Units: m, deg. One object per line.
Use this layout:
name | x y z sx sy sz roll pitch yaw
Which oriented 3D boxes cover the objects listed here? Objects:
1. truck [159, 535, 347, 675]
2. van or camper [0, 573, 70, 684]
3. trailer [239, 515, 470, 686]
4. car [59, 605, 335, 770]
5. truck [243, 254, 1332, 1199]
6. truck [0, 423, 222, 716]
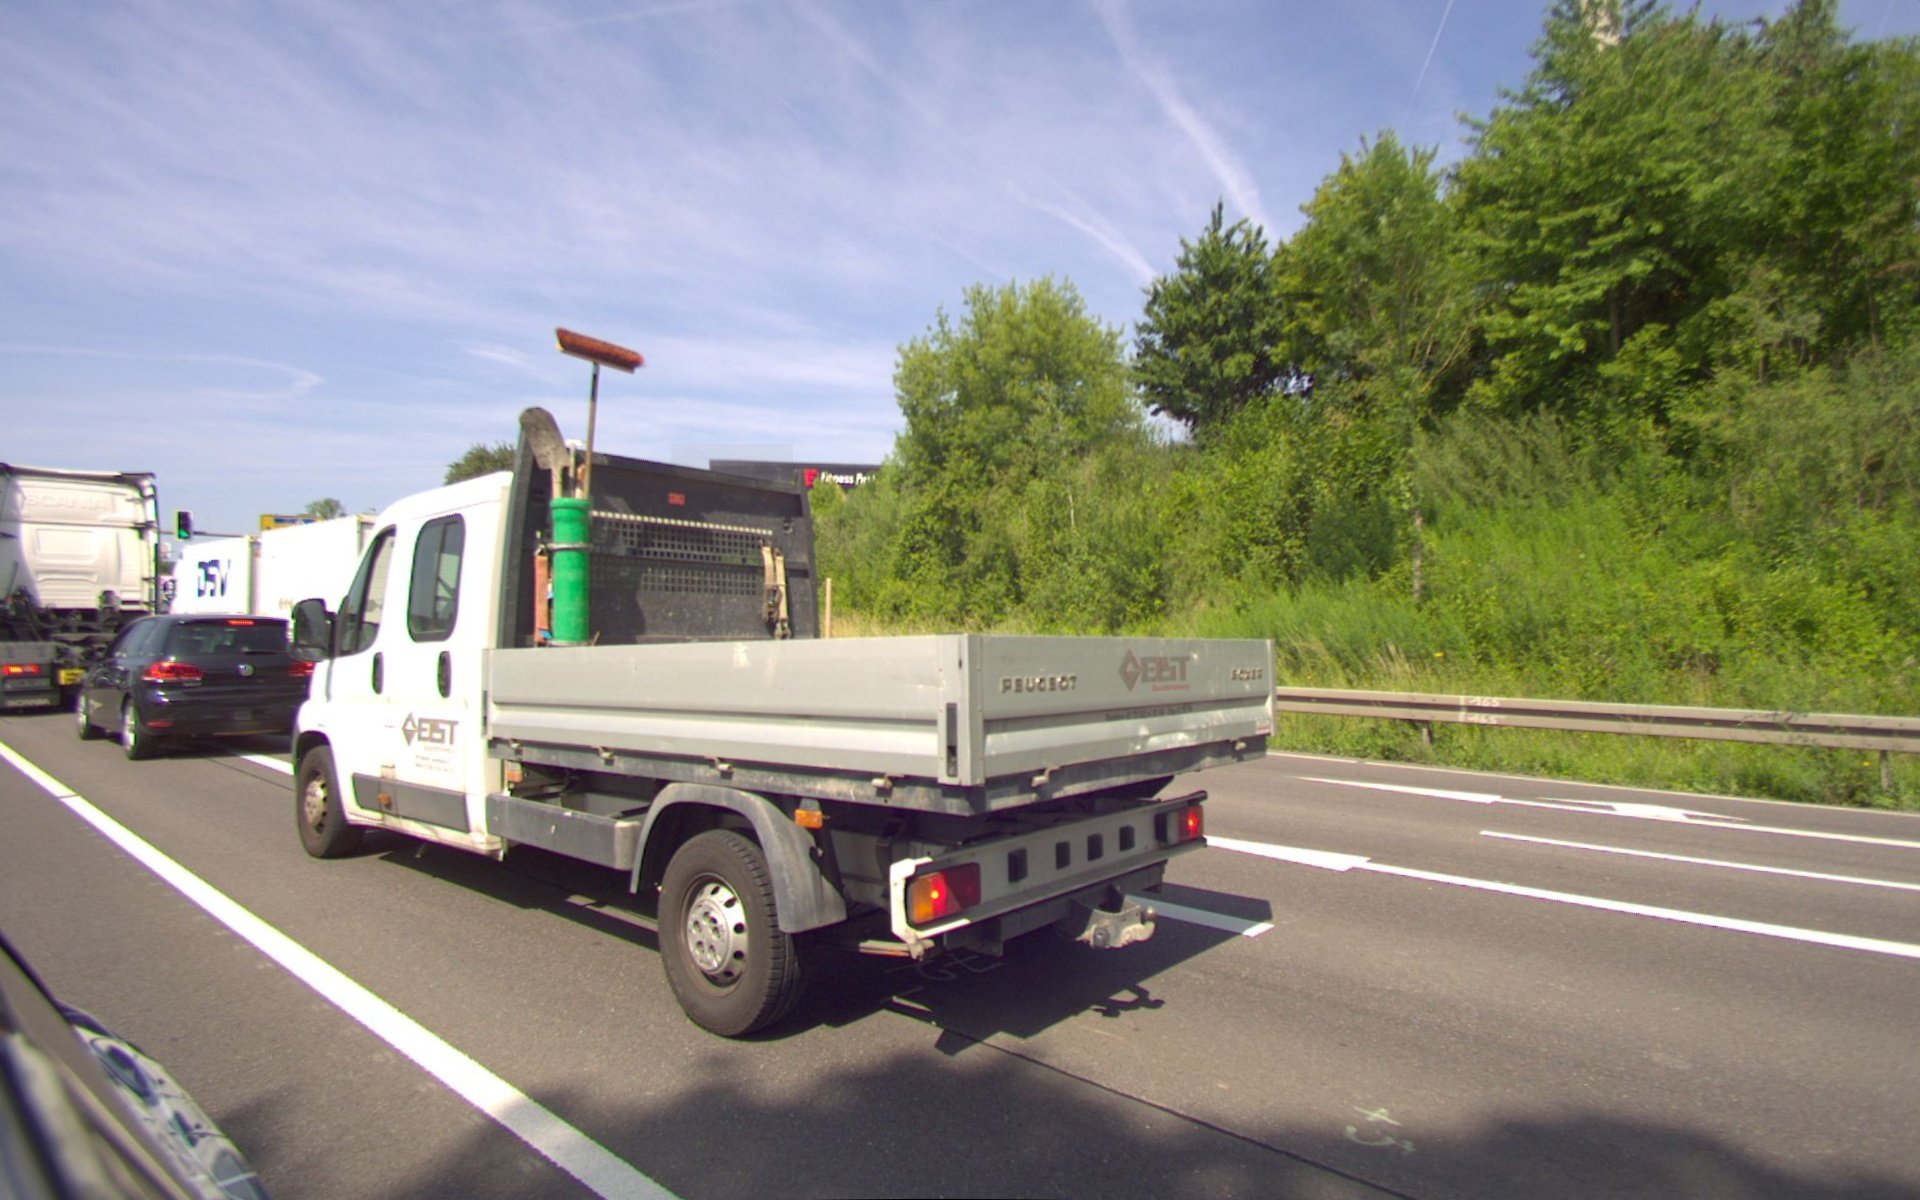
truck | -24.040 0.212 34.143 9.676 4.147 2.800 -1 -2 41
van or camper | -25.170 0.696 26.068 6.973 2.620 2.307 -1 -2 40
trailer | -17.025 0.070 28.134 8.750 4.100 2.811 -1 -2 41
car | -8.813 0.864 11.567 4.107 1.563 1.693 -1 -2 41
truck | -1.632 0.347 5.451 6.497 2.285 2.203 -1 -2 42
truck | -14.989 -0.379 17.162 6.261 4.119 2.511 -1 -2 40
